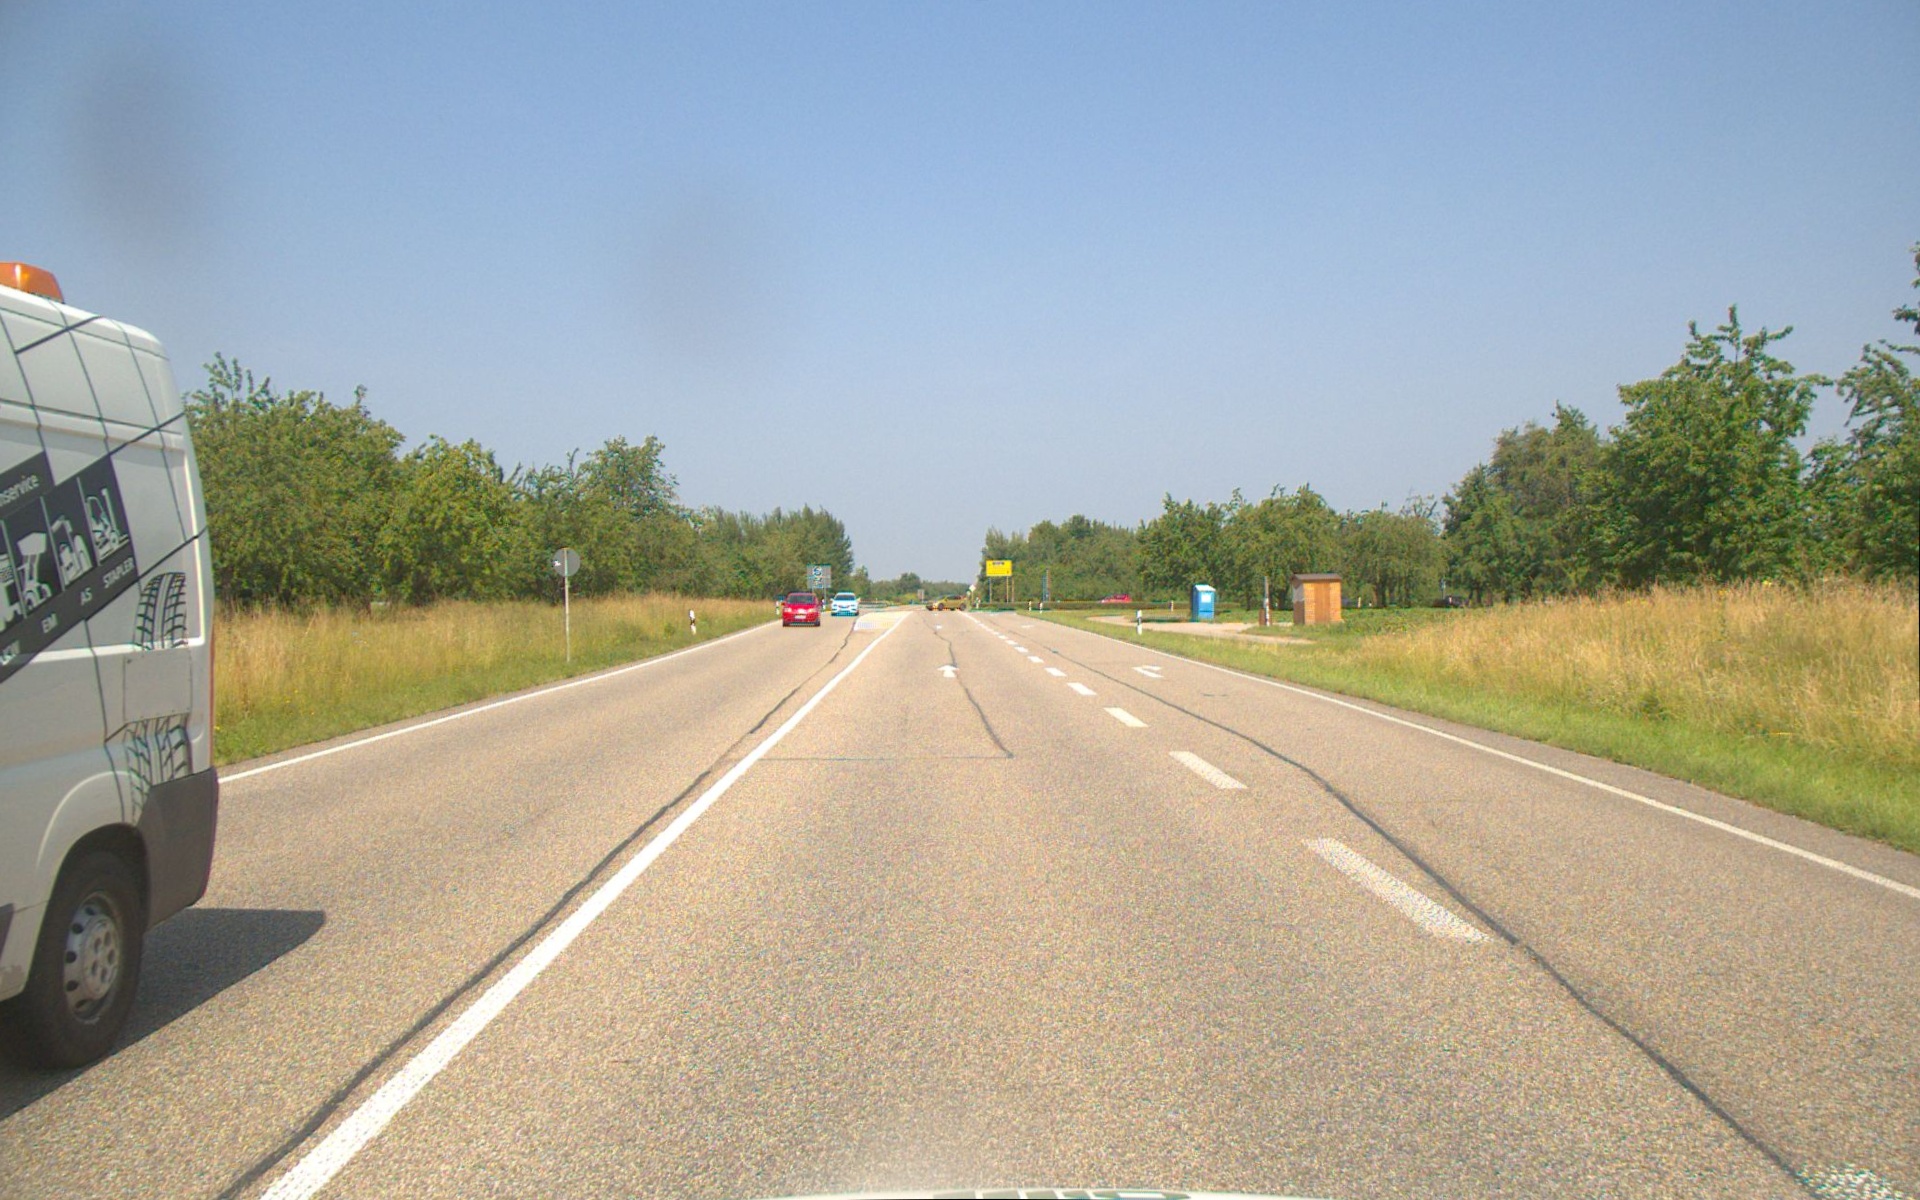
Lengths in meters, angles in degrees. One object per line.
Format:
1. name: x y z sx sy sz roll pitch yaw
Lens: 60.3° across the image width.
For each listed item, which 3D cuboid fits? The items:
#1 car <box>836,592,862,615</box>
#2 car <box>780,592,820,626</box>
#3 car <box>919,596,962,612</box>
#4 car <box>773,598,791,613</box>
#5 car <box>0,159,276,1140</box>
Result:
1. car: -7.376 0.224 110.055 1.641 1.520 4.134 0 0 -3
2. car: -7.222 0.384 74.815 1.593 1.482 3.619 0 0 -2
3. car: -1.827 0.345 156.986 3.769 1.441 1.687 -1 0 -28
4. car: -18.200 0.560 168.974 1.671 1.448 4.039 -1 0 -5
5. car: -3.672 0.131 3.489 2.117 2.715 6.140 0 0 -2
